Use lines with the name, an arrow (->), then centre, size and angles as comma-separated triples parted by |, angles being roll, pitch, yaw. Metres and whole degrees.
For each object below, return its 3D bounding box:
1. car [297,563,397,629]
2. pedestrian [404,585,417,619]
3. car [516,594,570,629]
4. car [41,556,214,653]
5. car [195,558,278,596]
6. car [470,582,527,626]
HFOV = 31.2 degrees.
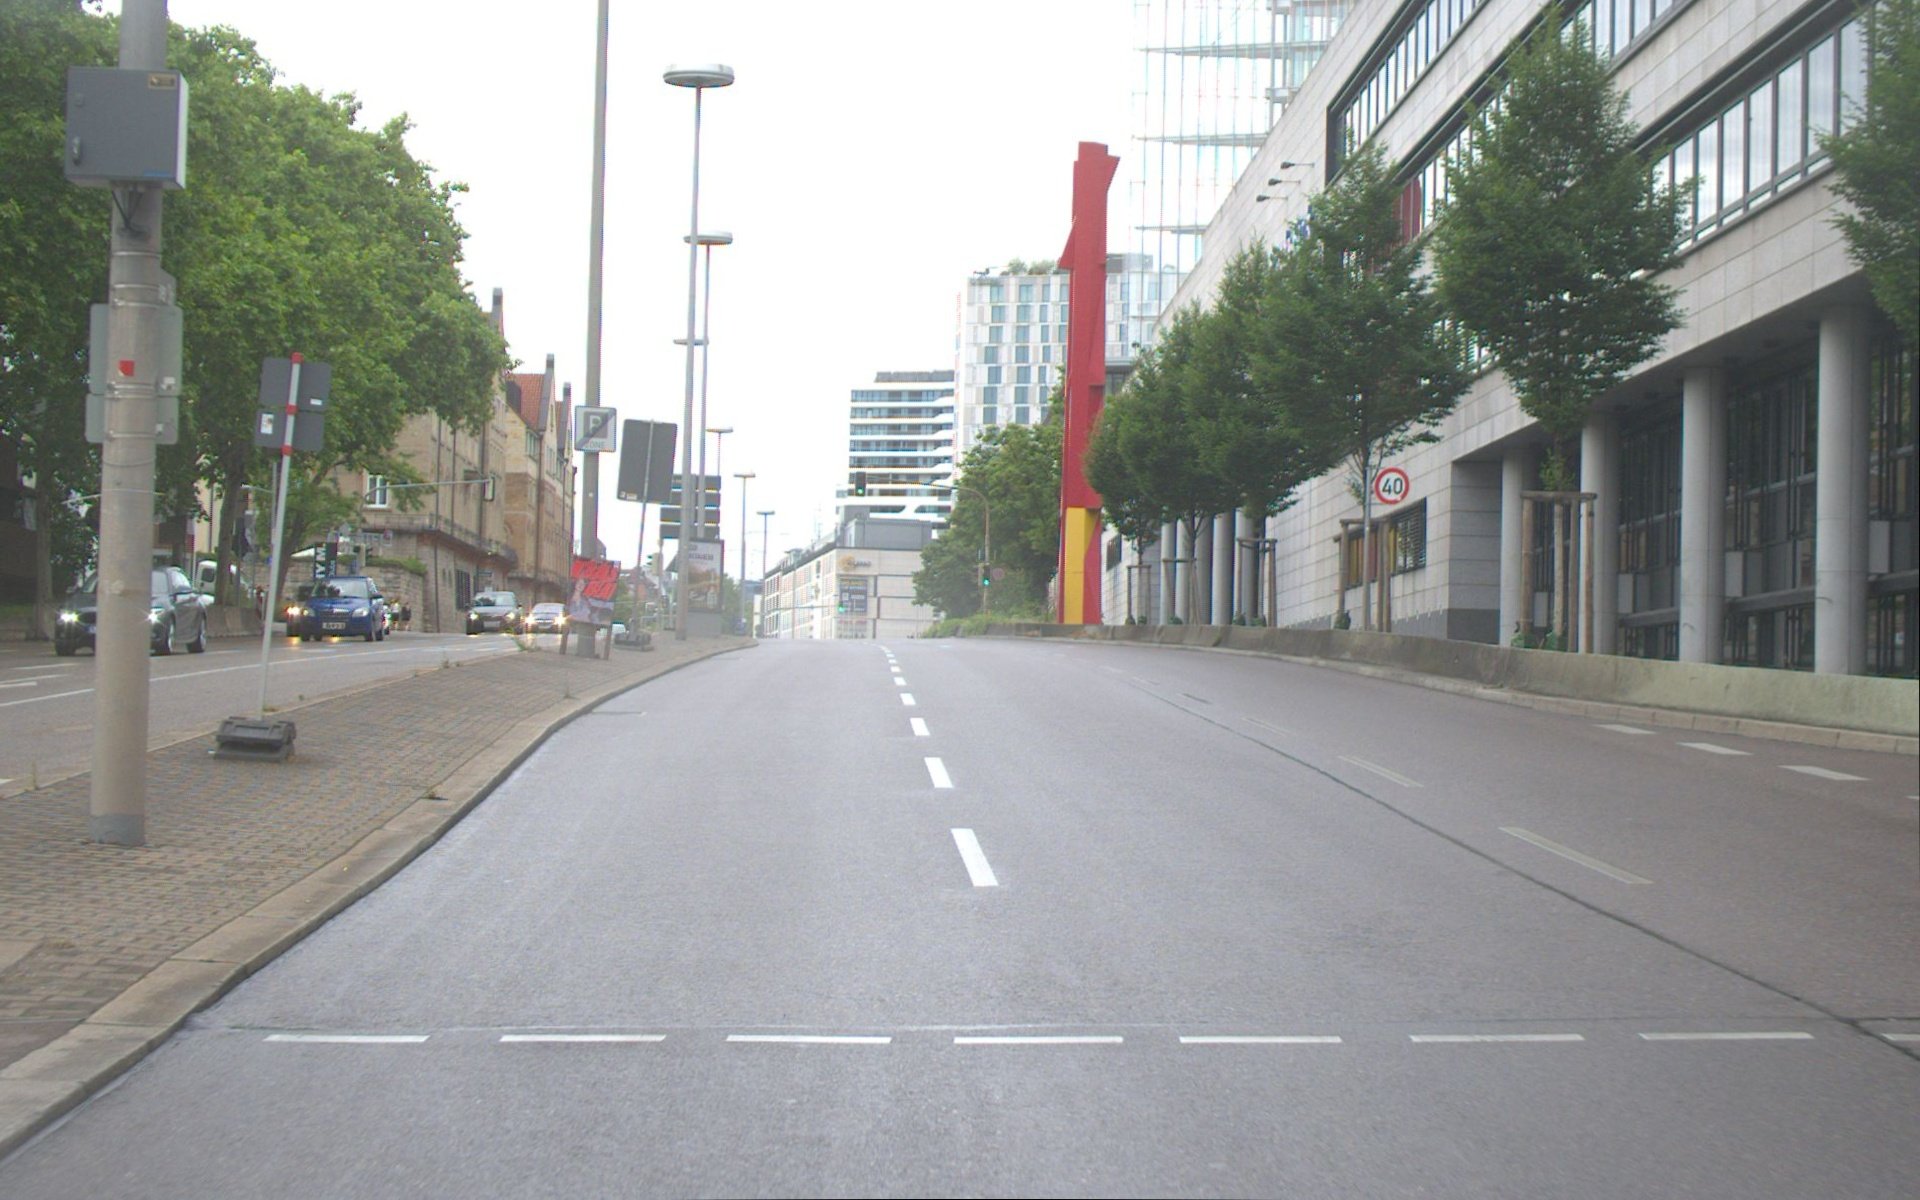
car -> -14.045, -0.107, 78.942 | 1.608, 1.468, 4.067 | 0, 0, 0
pedestrian -> -26.376, 0.089, 164.953 | 0.498, 1.606, 0.500 | 1, -2, 1
car -> -18.119, 0.512, 149.397 | 1.819, 1.398, 4.000 | -1, -2, 1
car -> -12.994, 0.046, 53.883 | 1.807, 1.443, 4.340 | 0, 1, -2
car -> -33.987, -1.060, 161.519 | 3.628, 1.695, 1.825 | 0, -2, -4
car -> -15.240, 0.145, 113.615 | 1.686, 1.405, 4.001 | 0, 0, -5
